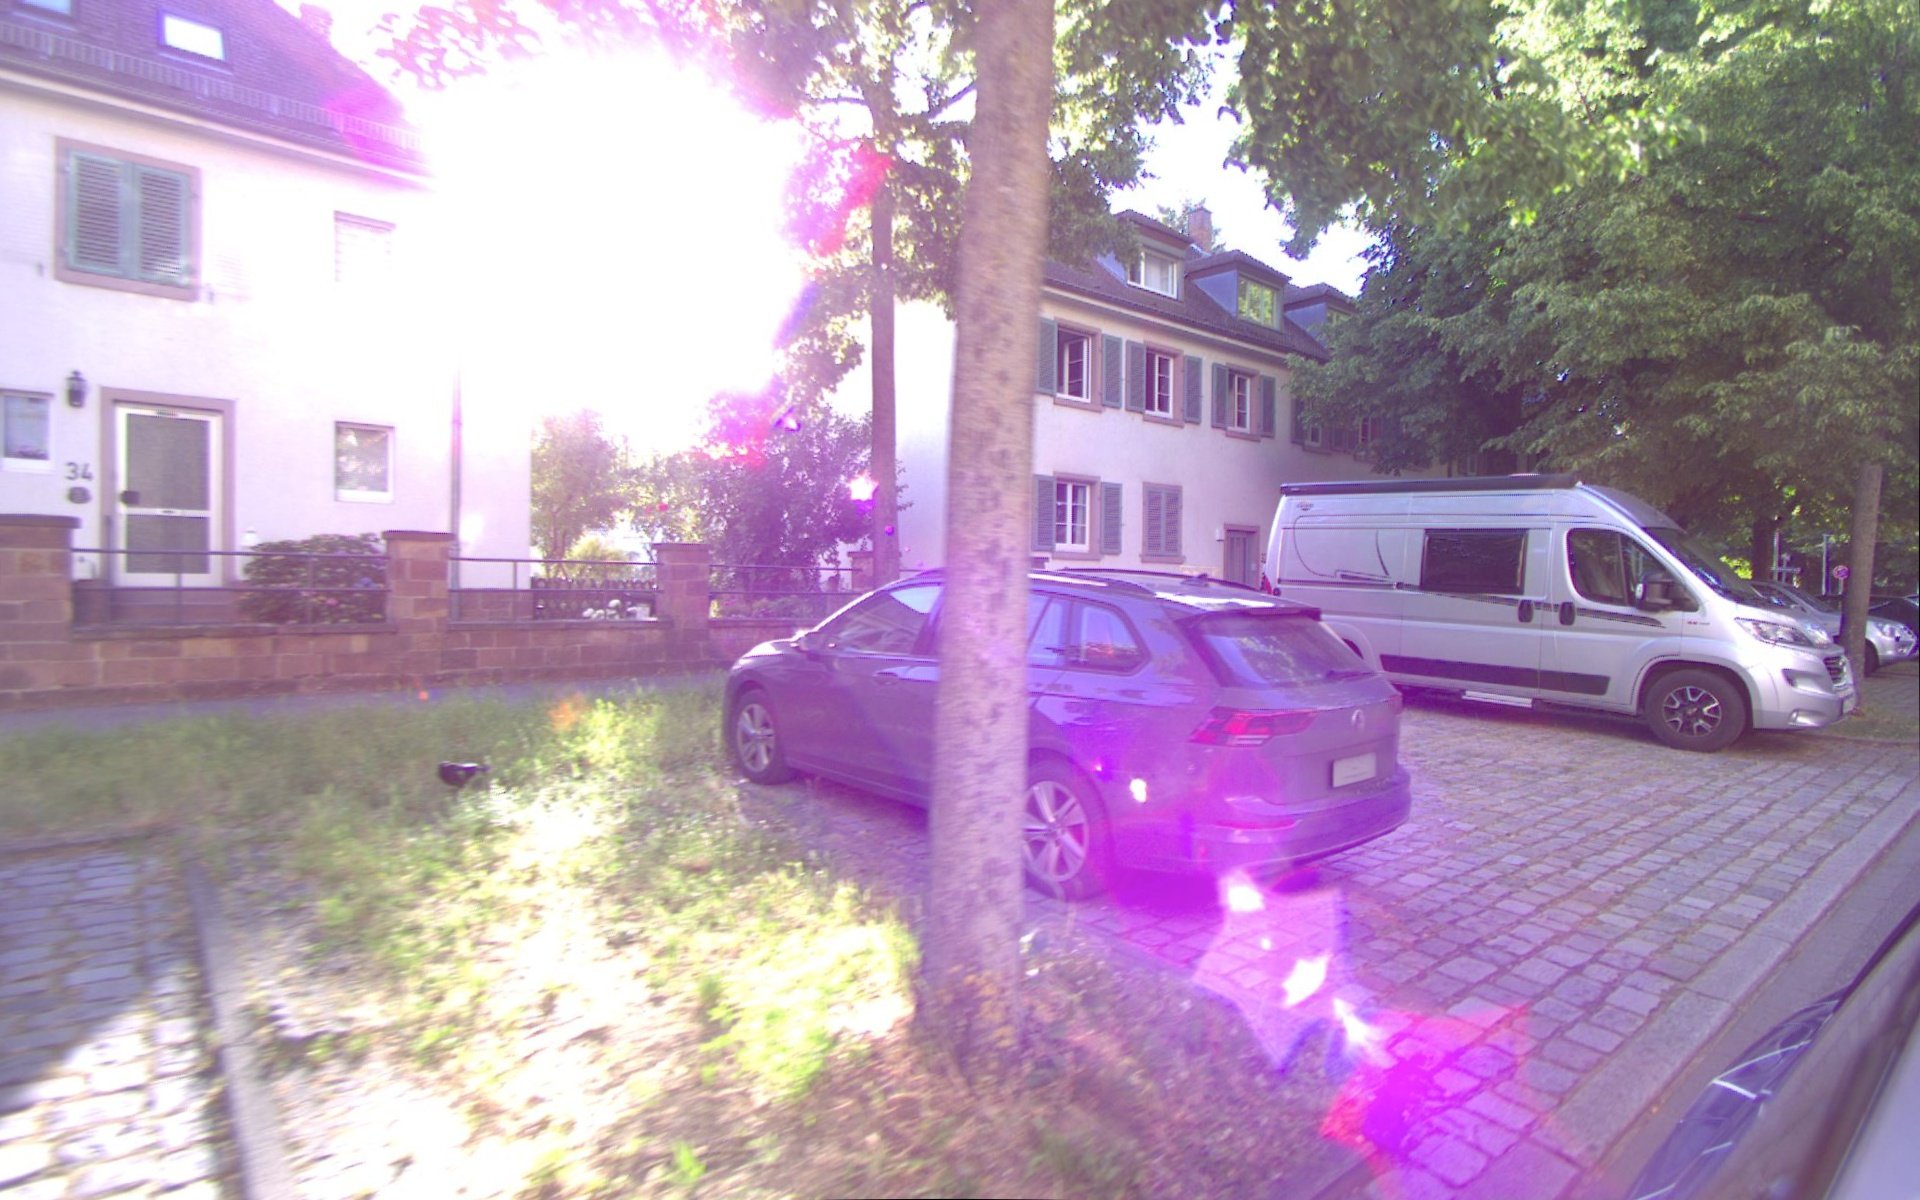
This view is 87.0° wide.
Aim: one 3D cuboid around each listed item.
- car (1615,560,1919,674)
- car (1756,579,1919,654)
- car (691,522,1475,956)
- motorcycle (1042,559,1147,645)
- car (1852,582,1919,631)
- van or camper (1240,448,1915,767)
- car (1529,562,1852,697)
[{"bbox_3d":[15.256,0.219,18.953,1.966,1.736,4.603,0,4,-42],"label":"car"},{"bbox_3d":[20.971,0.358,23.231,1.528,1.571,3.996,0,2,-40],"label":"car"},{"bbox_3d":[0.262,0.366,5.904,1.795,1.453,4.488,0,5,-40],"label":"car"},{"bbox_3d":[2.354,0.015,17.599,1.981,1.424,0.660,-1,1,-41],"label":"motorcycle"},{"bbox_3d":[32.169,0.245,33.364,1.547,1.531,3.992,0,2,-43],"label":"car"},{"bbox_3d":[6.164,-0.171,10.943,2.124,2.546,5.734,0,5,-40],"label":"van or camper"},{"bbox_3d":[10.139,0.313,14.209,1.792,1.480,3.262,0,5,-39],"label":"car"}]
